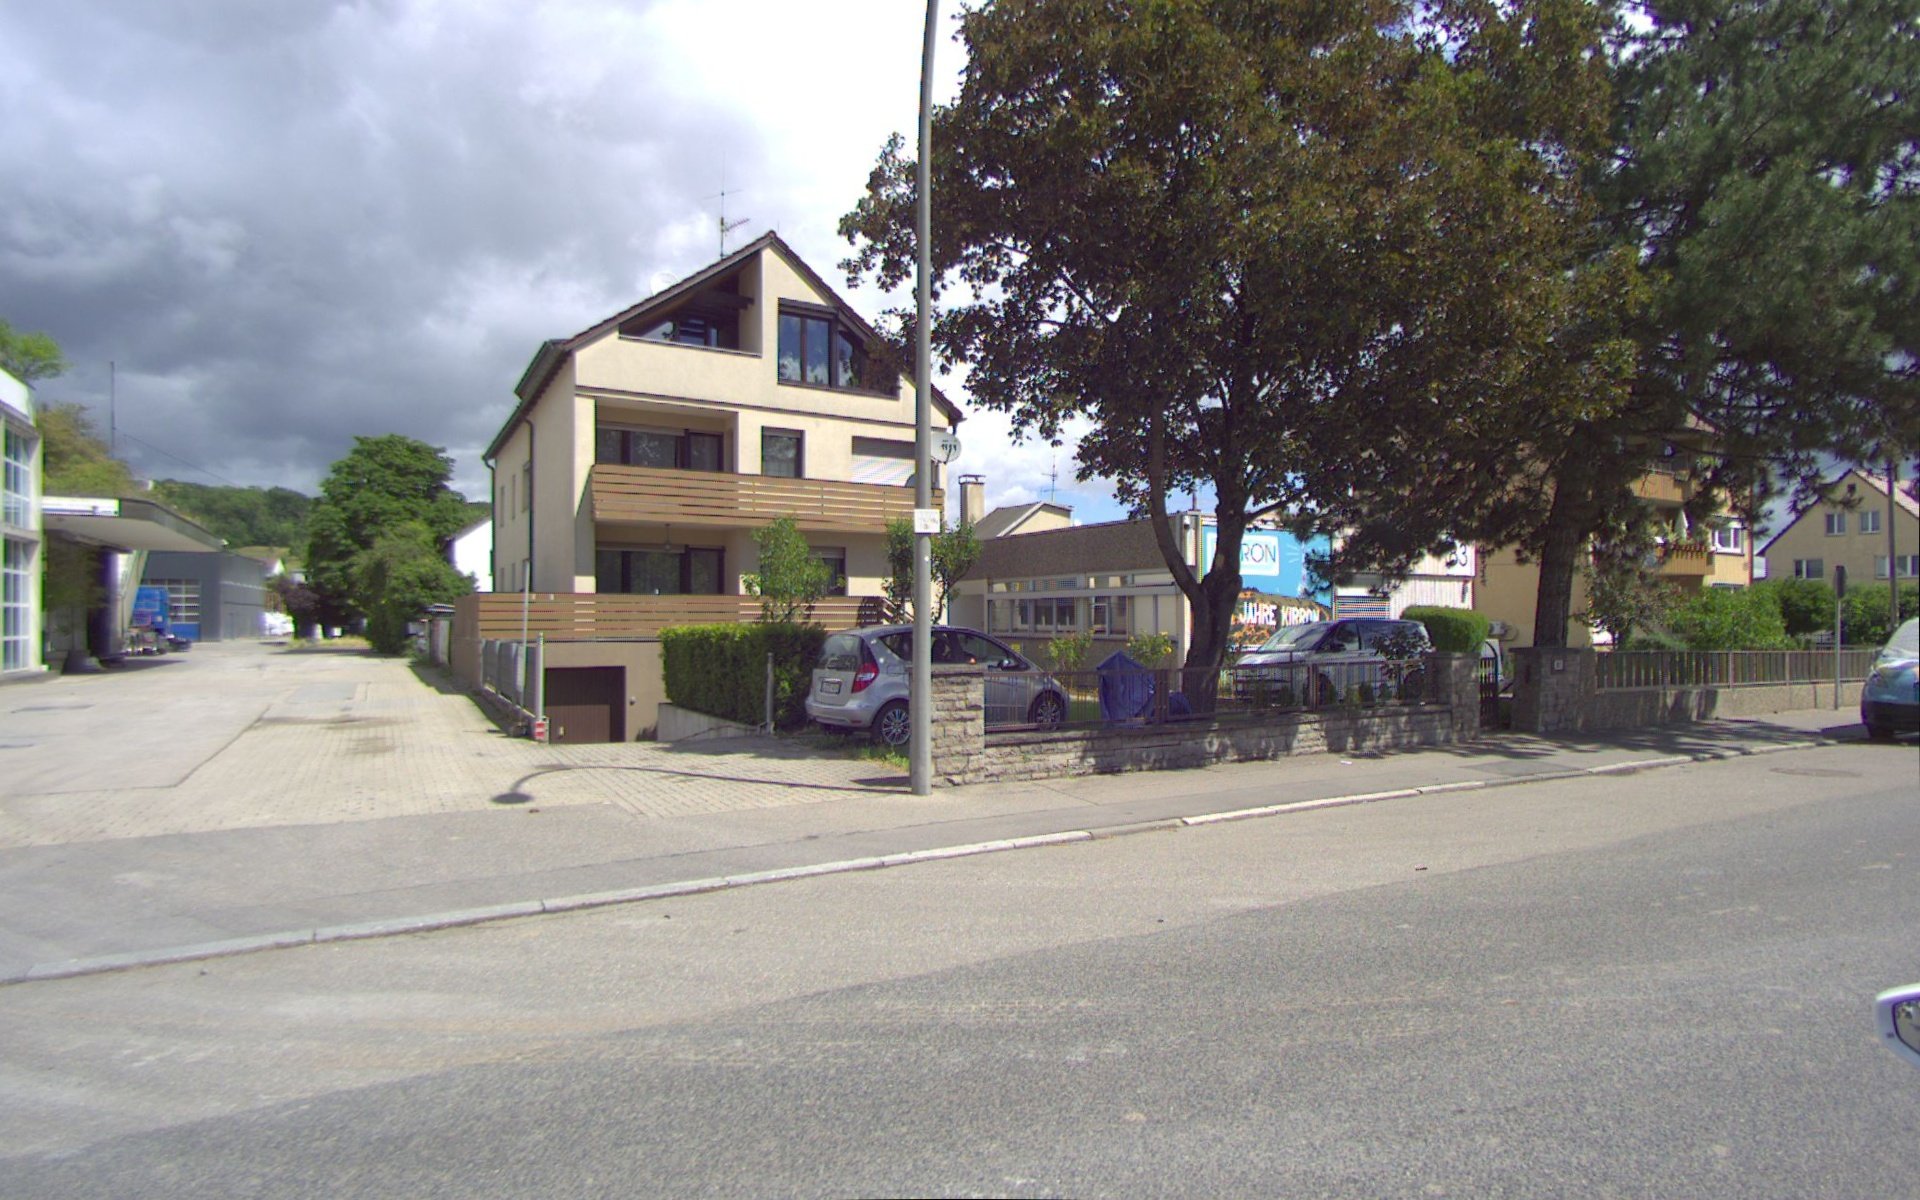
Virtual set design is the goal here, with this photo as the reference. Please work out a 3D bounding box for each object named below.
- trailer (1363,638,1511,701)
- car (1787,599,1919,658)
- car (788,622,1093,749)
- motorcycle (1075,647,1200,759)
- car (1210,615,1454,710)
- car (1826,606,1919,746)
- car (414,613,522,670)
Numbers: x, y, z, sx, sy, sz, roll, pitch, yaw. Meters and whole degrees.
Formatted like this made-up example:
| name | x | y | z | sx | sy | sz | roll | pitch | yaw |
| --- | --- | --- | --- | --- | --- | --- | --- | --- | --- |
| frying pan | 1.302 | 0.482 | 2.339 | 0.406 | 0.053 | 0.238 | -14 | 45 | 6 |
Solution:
| name | x | y | z | sx | sy | sz | roll | pitch | yaw |
| --- | --- | --- | --- | --- | --- | --- | --- | --- | --- |
| trailer | 16.978 | 2.509 | 35.939 | 2.432 | 1.908 | 3.970 | 0 | -7 | -32 |
| car | 40.428 | 1.341 | 45.451 | 6.056 | 2.528 | 2.404 | 1 | -3 | -27 |
| car | -0.213 | 1.105 | 14.242 | 4.045 | 1.563 | 1.756 | 1 | -2 | -34 |
| motorcycle | 2.081 | 1.180 | 12.051 | 0.810 | 1.181 | 1.871 | 0 | -1 | -13 |
| car | 8.152 | 1.310 | 21.860 | 5.416 | 1.855 | 2.069 | 1 | -2 | -31 |
| car | 14.995 | 1.033 | 14.811 | 4.838 | 1.877 | 1.825 | 0 | -4 | -30 |
| car | -21.326 | 1.823 | 43.604 | 3.953 | 2.039 | 1.986 | 8 | -4 | -28 |
